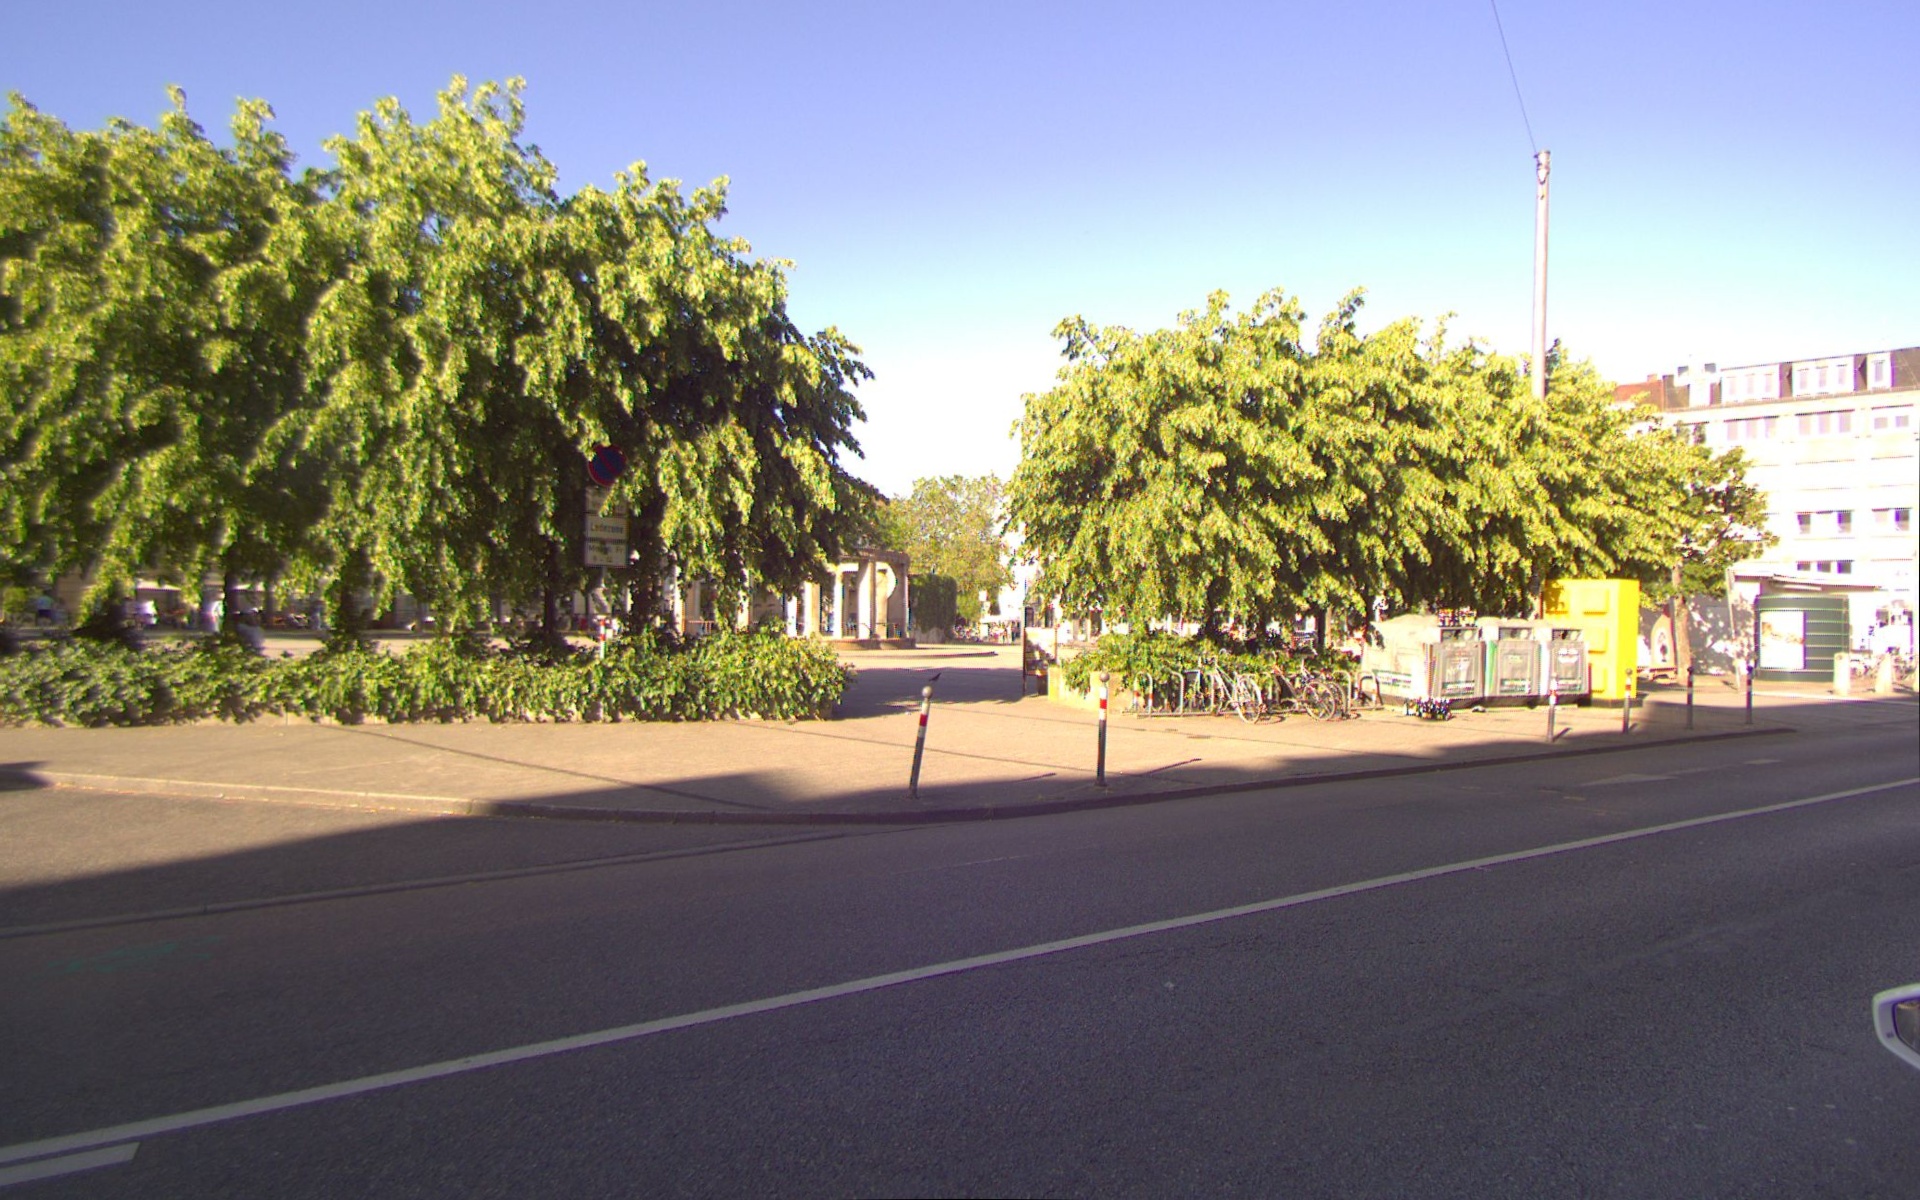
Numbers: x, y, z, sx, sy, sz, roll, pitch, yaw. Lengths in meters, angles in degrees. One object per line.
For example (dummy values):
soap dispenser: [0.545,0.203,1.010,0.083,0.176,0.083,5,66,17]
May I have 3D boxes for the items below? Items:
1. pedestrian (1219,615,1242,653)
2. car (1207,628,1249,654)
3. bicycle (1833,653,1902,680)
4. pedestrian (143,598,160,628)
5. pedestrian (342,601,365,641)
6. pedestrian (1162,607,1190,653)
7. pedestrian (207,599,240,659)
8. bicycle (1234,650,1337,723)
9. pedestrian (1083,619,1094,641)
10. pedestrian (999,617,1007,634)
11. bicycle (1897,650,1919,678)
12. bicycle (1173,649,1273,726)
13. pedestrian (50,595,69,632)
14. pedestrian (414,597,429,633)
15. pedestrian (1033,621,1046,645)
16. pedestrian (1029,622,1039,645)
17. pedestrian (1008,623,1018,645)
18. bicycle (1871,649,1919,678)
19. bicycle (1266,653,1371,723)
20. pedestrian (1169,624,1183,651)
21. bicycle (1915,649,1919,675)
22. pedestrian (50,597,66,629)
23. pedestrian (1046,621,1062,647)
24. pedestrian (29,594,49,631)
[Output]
pedestrian: [12.205,1.531,45.336,0.774,1.720,0.763,1,0,-6]
car: [15.350,2.324,57.687,1.658,1.405,3.575,1,-1,5]
bicycle: [30.806,2.248,34.115,0.600,0.802,1.634,2,0,-33]
pedestrian: [-47.017,0.765,58.408,0.599,1.744,0.644,2,0,39]
pedestrian: [-26.766,0.920,44.334,0.599,1.744,0.644,2,0,37]
pedestrian: [9.637,1.320,44.875,0.875,2.040,0.896,1,0,-17]
pedestrian: [-21.721,0.845,29.626,0.599,1.744,0.644,2,0,41]
bicycle: [5.231,1.368,16.272,0.508,1.016,1.923,2,0,-20]
pedestrian: [12.685,2.970,99.428,0.860,2.199,0.902,2,0,-5]
pedestrian: [5.047,3.004,118.064,0.629,1.974,0.675,2,0,-13]
bicycle: [35.008,2.333,36.096,0.599,0.946,1.854,2,0,-30]
bicycle: [4.054,1.330,15.646,0.508,1.029,1.930,2,0,-19]
pedestrian: [-42.902,0.660,47.855,0.600,1.744,0.643,2,0,45]
pedestrian: [-30.054,0.860,56.039,0.669,1.974,0.634,2,0,-33]
pedestrian: [6.803,2.839,85.926,0.860,2.040,0.902,2,0,-5]
pedestrian: [6.502,2.916,88.222,0.628,1.974,0.676,2,0,-7]
pedestrian: [4.573,2.915,86.733,0.718,1.862,0.697,2,0,-5]
bicycle: [33.161,2.219,35.125,0.599,0.946,1.855,1,0,-30]
bicycle: [5.810,1.405,16.407,0.508,0.968,1.898,2,0,-20]
pedestrian: [14.212,2.439,66.155,0.741,1.740,0.854,1,-1,4]
bicycle: [37.013,2.370,37.519,0.599,0.946,1.854,2,0,-30]
pedestrian: [-43.513,0.624,48.471,0.536,1.521,0.546,2,0,-42]
pedestrian: [7.553,2.718,80.706,1.014,2.040,1.159,2,0,-5]
pedestrian: [-43.990,0.608,47.979,0.600,1.744,0.643,2,0,45]
